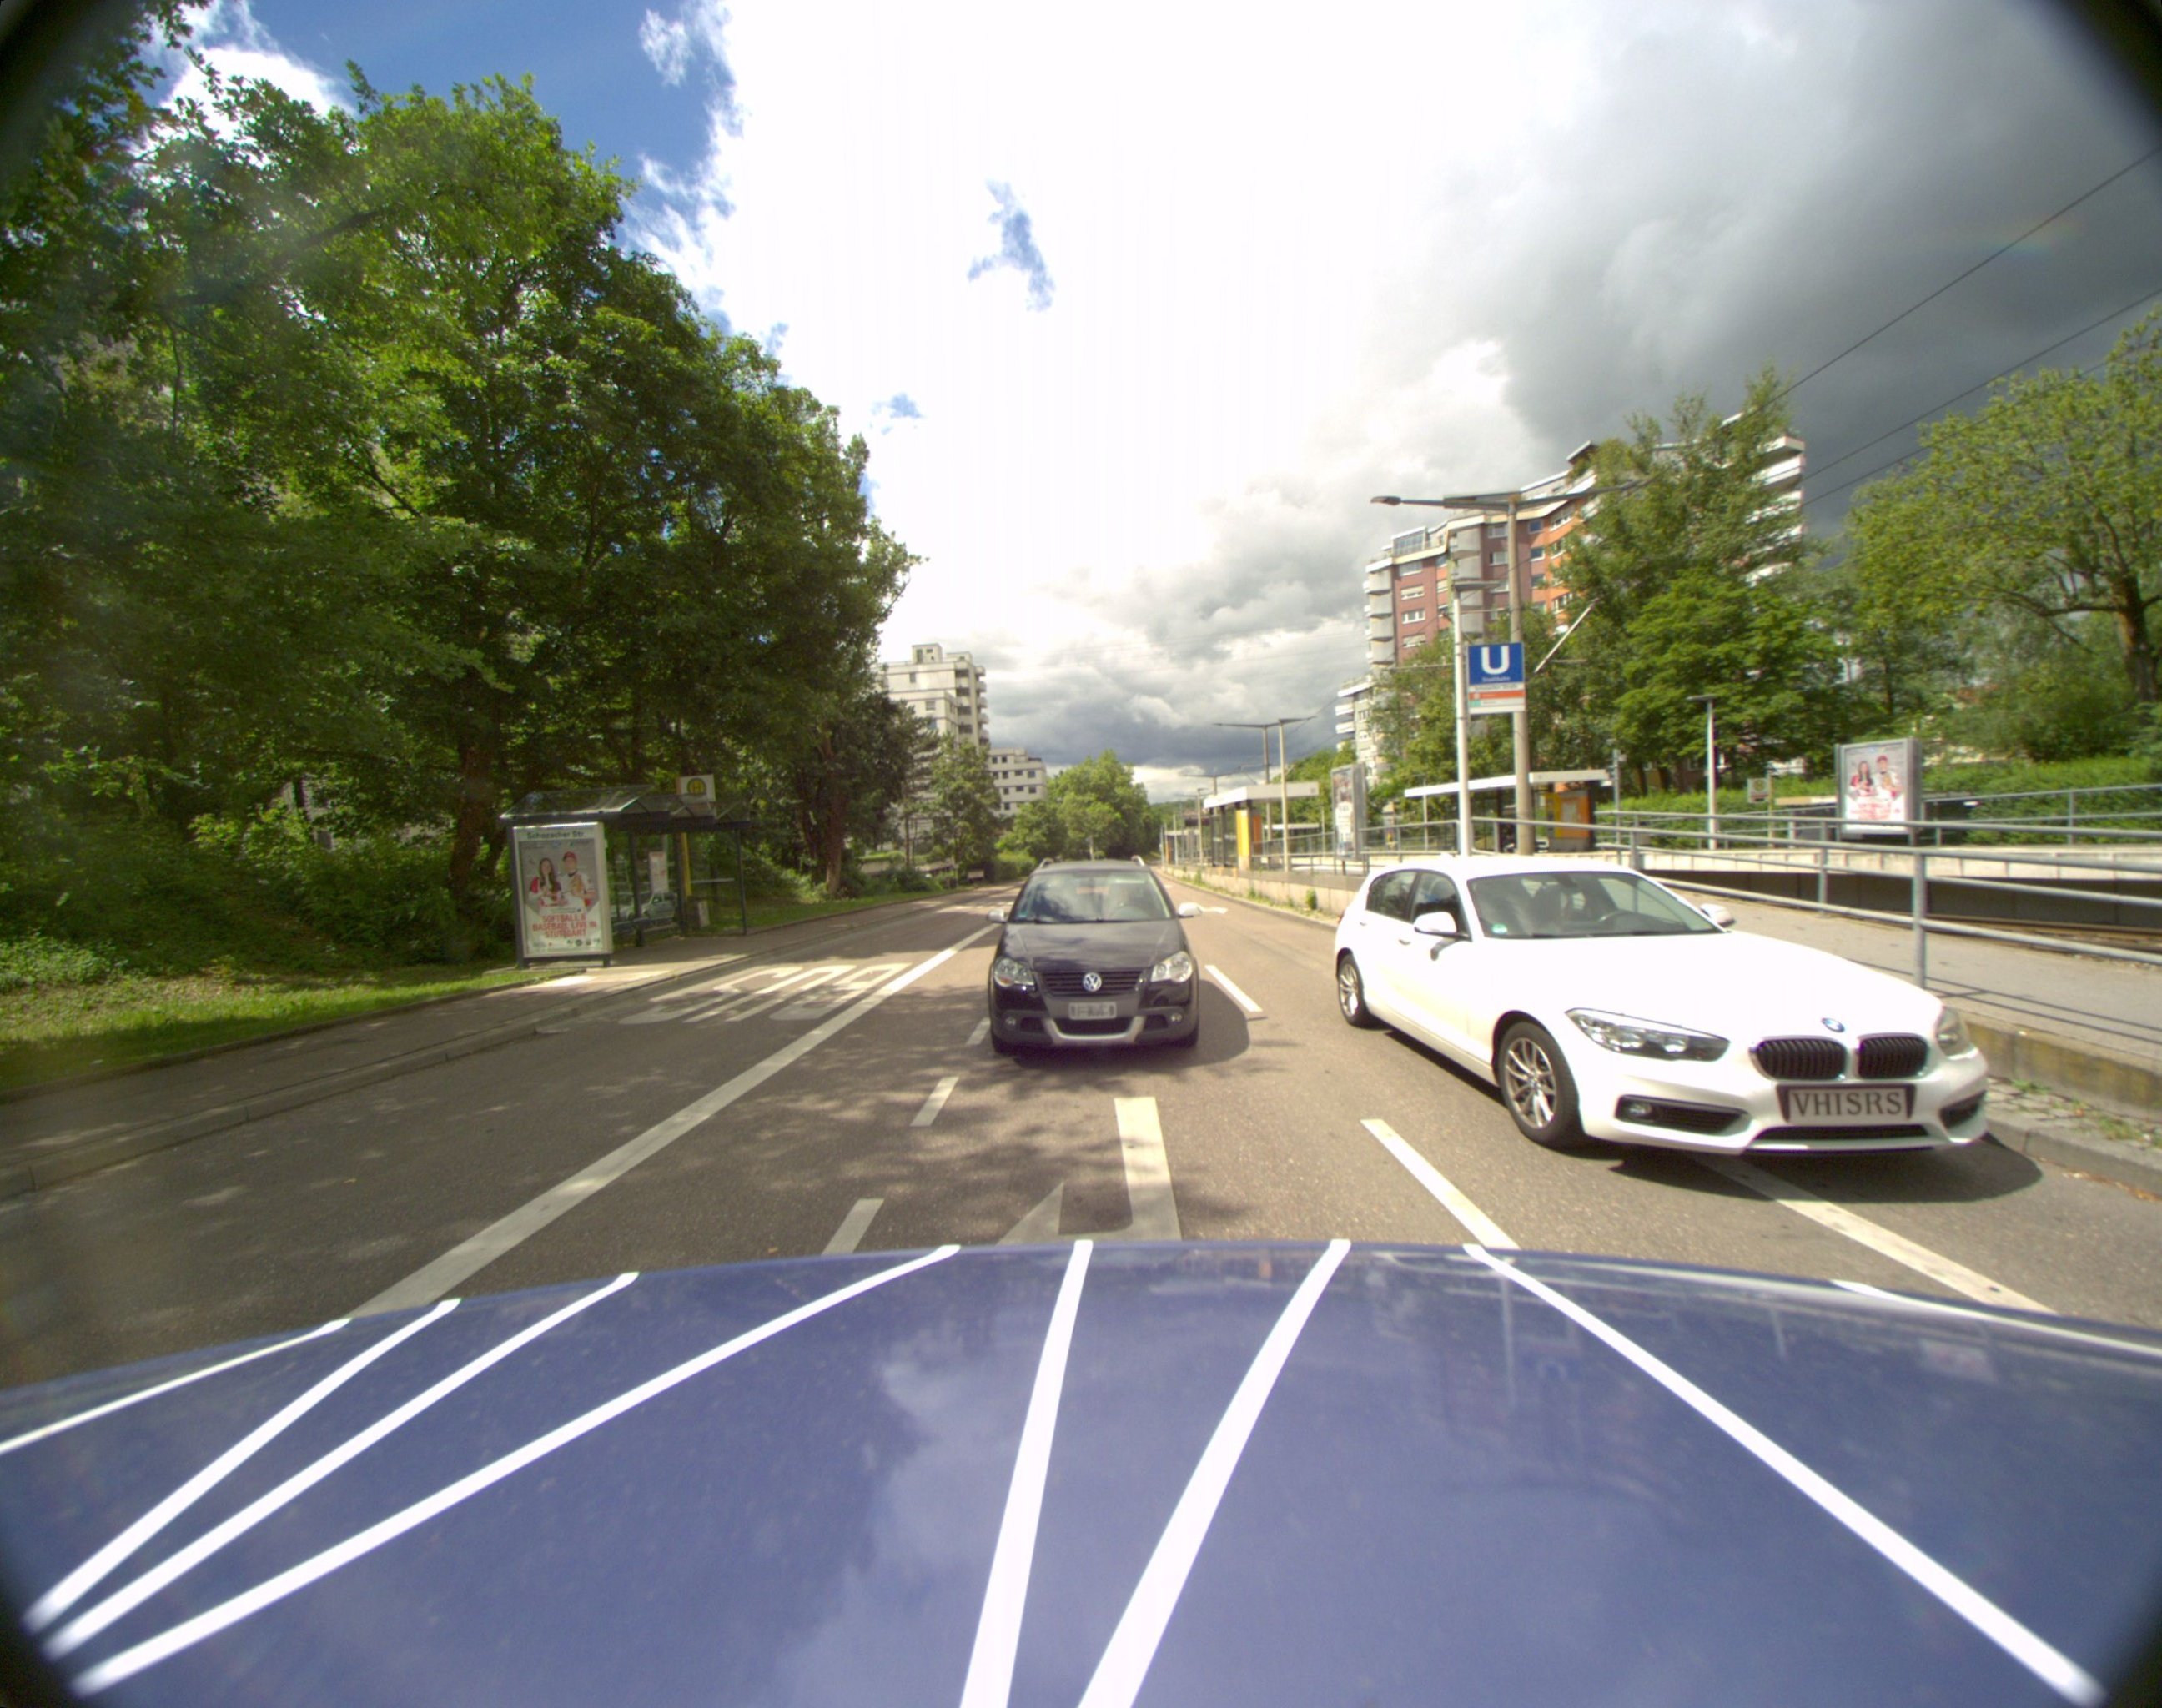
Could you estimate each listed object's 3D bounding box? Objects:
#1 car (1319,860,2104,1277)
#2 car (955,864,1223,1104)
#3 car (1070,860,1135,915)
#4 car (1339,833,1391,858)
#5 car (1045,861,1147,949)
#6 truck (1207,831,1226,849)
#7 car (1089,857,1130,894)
[{"bbox_3d":[3.019,0.836,4.879,1.732,1.453,4.000,-2,1,1],"label":"car"},{"bbox_3d":[0.084,0.898,7.081,1.732,1.501,4.000,-2,0,1],"label":"car"},{"bbox_3d":[0.705,0.947,23.134,1.732,1.452,4.001,-2,0,3],"label":"car"},{"bbox_3d":[19.390,-0.586,52.027,1.998,1.625,4.460,-1,0,2],"label":"car"},{"bbox_3d":[0.296,0.916,15.353,1.732,1.453,4.000,-2,0,1],"label":"car"},{"bbox_3d":[26.931,-2.759,150.938,2.420,3.203,7.263,-2,0,1],"label":"truck"},{"bbox_3d":[1.283,0.967,35.603,1.732,1.505,4.000,-2,1,1],"label":"car"}]
